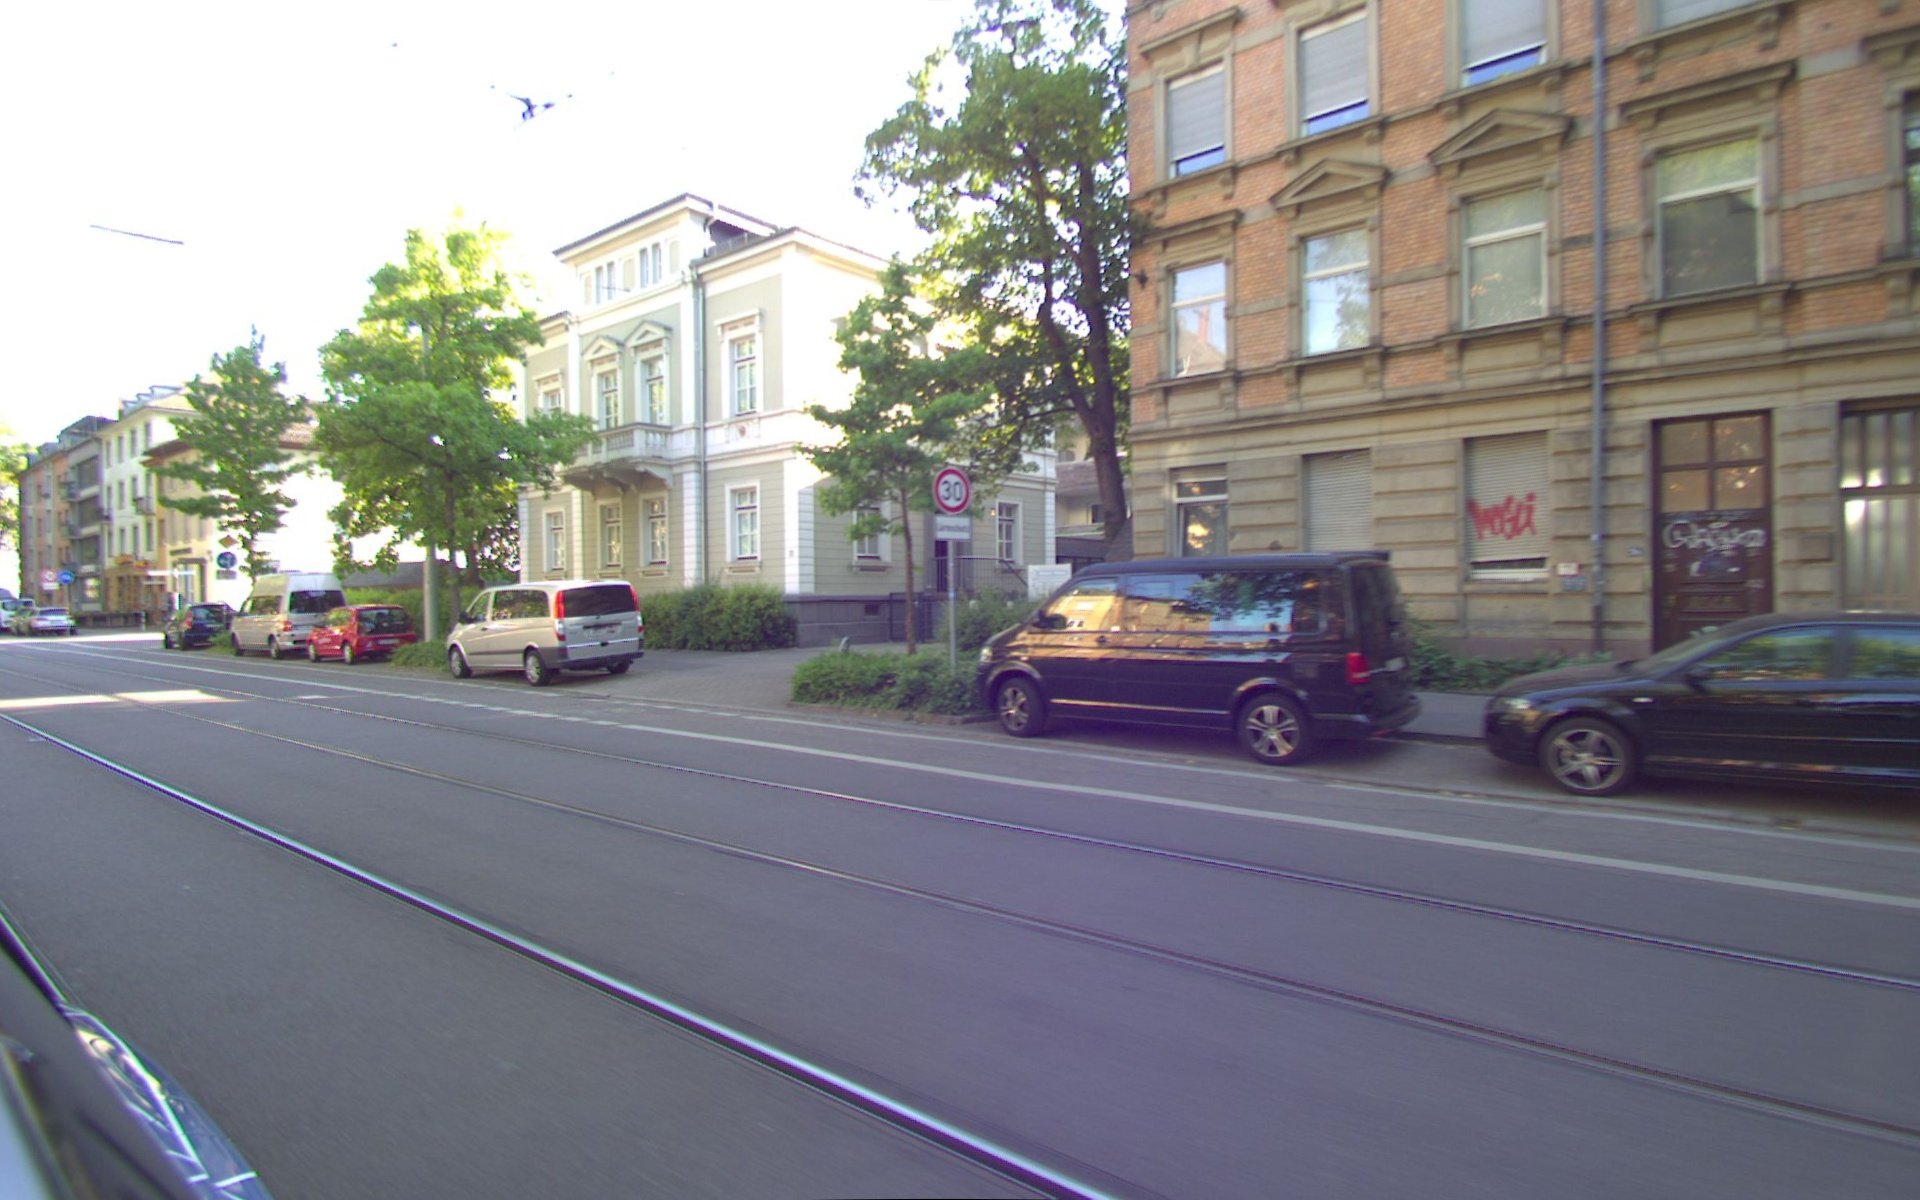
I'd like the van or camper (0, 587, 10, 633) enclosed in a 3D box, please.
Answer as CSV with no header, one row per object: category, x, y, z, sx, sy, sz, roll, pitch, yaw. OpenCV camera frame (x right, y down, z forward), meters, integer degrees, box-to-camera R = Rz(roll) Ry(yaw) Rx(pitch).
van or camper,-65.942,0.744,67.896,5.987,2.999,2.393,-1,4,41

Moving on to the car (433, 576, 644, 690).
car,-8.454,0.599,20.075,4.985,2.004,1.825,-1,0,41

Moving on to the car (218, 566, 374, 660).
car,-19.657,0.377,29.885,5.336,2.527,2.282,-1,0,38

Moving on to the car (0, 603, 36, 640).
car,-56.174,1.235,59.551,4.935,2.061,1.904,-1,1,39

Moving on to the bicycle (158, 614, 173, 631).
bicycle,-46.031,1.302,58.659,1.646,0.935,0.358,-1,0,40

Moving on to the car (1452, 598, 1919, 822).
car,6.346,0.733,7.851,4.265,1.469,1.835,-1,0,39

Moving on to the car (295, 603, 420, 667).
car,-15.941,0.893,26.716,3.704,1.551,1.668,-1,0,39

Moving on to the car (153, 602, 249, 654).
car,-26.863,0.946,35.772,4.260,1.703,1.971,-1,0,42

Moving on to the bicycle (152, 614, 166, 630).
bicycle,-47.303,1.314,59.756,1.646,0.935,0.358,-1,0,40

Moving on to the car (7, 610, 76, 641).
car,-48.025,1.329,52.883,4.933,1.503,1.755,-1,1,37

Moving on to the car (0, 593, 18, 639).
car,-60.894,1.048,63.468,4.543,2.766,1.904,-1,4,40

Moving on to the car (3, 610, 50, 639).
car,-51.651,1.315,55.974,2.880,1.503,1.555,-1,1,40

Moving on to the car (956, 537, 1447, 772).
car,2.449,0.490,11.024,4.829,2.029,1.974,-1,0,39
